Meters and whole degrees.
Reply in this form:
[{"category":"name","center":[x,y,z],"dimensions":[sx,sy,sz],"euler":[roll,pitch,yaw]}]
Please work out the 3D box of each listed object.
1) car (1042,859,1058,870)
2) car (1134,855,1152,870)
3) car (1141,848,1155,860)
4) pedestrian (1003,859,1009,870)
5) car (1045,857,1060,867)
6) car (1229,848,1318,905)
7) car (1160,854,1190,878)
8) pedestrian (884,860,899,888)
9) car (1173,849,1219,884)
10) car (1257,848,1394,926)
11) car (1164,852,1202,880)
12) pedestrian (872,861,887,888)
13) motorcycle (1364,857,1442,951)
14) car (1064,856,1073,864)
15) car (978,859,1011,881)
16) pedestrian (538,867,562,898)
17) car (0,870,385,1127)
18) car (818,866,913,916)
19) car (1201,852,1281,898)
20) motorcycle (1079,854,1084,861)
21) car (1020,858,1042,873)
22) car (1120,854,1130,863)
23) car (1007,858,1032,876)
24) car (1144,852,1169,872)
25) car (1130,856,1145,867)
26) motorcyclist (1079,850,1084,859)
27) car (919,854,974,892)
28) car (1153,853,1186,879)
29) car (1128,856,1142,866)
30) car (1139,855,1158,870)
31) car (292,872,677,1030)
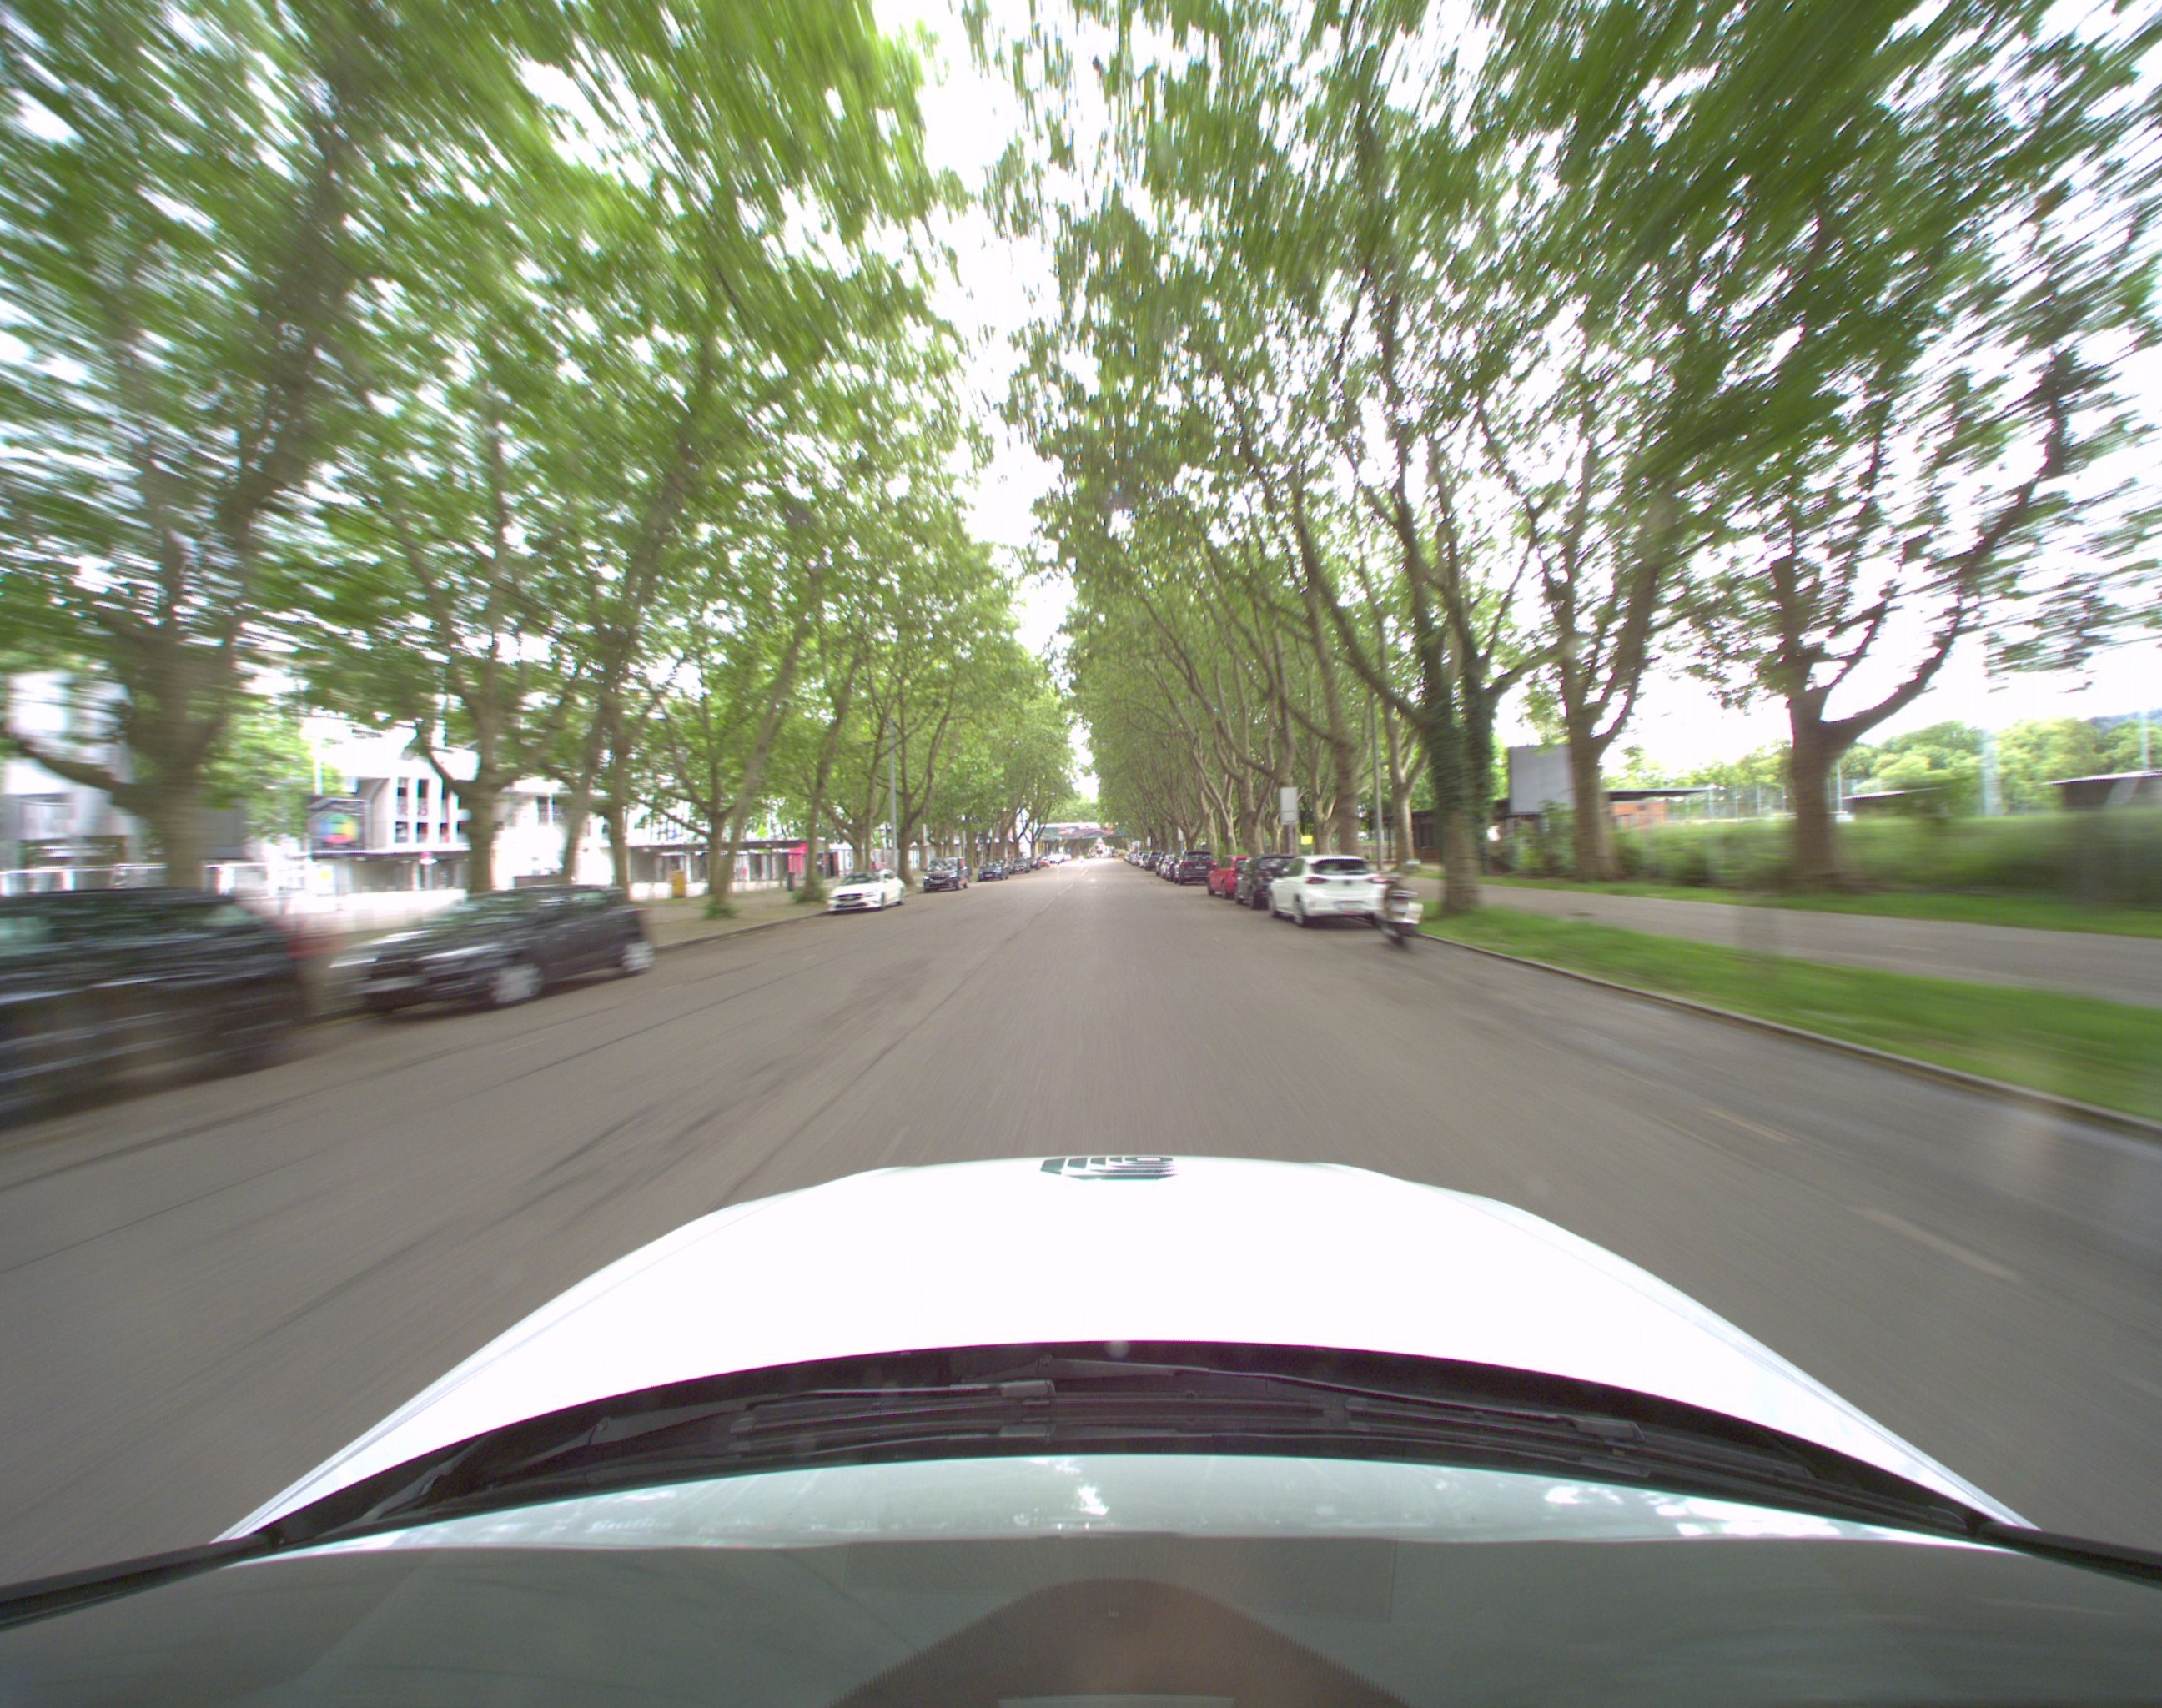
[{"category":"car","center":[-4.082,1.372,107.881],"dimensions":[1.801,1.354,4.002],"euler":[-2,0,2]},{"category":"car","center":[7.241,0.969,95.408],"dimensions":[1.896,1.739,4.508],"euler":[-2,0,2]},{"category":"car","center":[9.636,-0.028,117.416],"dimensions":[1.796,1.555,4.001],"euler":[-2,0,1]},{"category":"pedestrian","center":[-10.386,1.448,112.476],"dimensions":[0.588,1.620,0.794],"euler":[-2,-1,11]},{"category":"car","center":[-4.665,1.272,132.216],"dimensions":[2.065,1.563,4.758],"euler":[-2,0,2]},{"category":"car","center":[5.348,0.591,23.125],"dimensions":[1.723,1.470,4.083],"euler":[1,0,3]},{"category":"car","center":[5.847,0.750,50.916],"dimensions":[1.610,1.441,3.712],"euler":[0,0,3]},{"category":"pedestrian","center":[-12.291,1.315,52.751],"dimensions":[0.572,1.770,0.771],"euler":[-2,-1,16]},{"category":"car","center":[5.517,0.575,39.584],"dimensions":[1.749,1.620,4.441],"euler":[0,0,2]},{"category":"car","center":[5.137,0.640,17.694],"dimensions":[1.729,1.438,4.122],"euler":[-2,0,0]},{"category":"car","center":[5.574,0.640,44.902],"dimensions":[1.662,1.509,4.355],"euler":[0,0,2]},{"category":"pedestrian","center":[-13.041,1.335,52.628],"dimensions":[0.570,1.742,0.771],"euler":[-2,-1,16]},{"category":"motorcycle","center":[4.924,0.718,12.584],"dimensions":[0.708,1.331,1.998],"euler":[-1,0,10]},{"category":"car","center":[-2.901,1.363,186.171],"dimensions":[1.989,1.601,3.995],"euler":[-1,0,-4]},{"category":"car","center":[-6.359,1.174,60.258],"dimensions":[1.718,1.486,4.576],"euler":[-2,0,2]},{"category":"pedestrian","center":[-29.259,1.563,44.904],"dimensions":[0.721,1.691,0.809],"euler":[-2,-1,5]},{"category":"car","center":[-8.133,1.067,5.738],"dimensions":[1.930,1.643,4.932],"euler":[-5,0,3]},{"category":"car","center":[-7.564,1.254,29.094],"dimensions":[1.897,1.402,4.753],"euler":[-5,0,2]},{"category":"car","center":[5.381,0.657,27.971],"dimensions":[1.712,1.438,4.625],"euler":[0,0,-2]},{"category":"motorcycle","center":[0.065,0.584,142.148],"dimensions":[0.871,1.079,3.050],"euler":[-2,0,-2]},{"category":"car","center":[-5.465,1.256,89.877],"dimensions":[1.819,1.465,4.632],"euler":[-3,0,4]},{"category":"car","center":[8.894,0.863,164.928],"dimensions":[1.840,1.783,5.213],"euler":[-1,-1,2]},{"category":"car","center":[-5.828,1.221,77.943],"dimensions":[1.871,1.527,4.153],"euler":[-3,0,2]},{"category":"car","center":[6.384,0.669,69.004],"dimensions":[1.702,1.698,4.630],"euler":[0,0,0]},{"category":"car","center":[7.771,0.993,112.489],"dimensions":[1.850,1.481,4.178],"euler":[-2,0,1]},{"category":"motorcyclist","center":[0.062,0.146,142.072],"dimensions":[0.868,1.480,1.264],"euler":[-2,0,-2]},{"category":"car","center":[-6.992,0.950,42.727],"dimensions":[1.942,1.750,4.639],"euler":[-4,0,1]},{"category":"car","center":[6.043,0.782,55.823],"dimensions":[1.771,1.673,4.638],"euler":[-2,0,1]},{"category":"car","center":[7.929,1.049,119.162],"dimensions":[1.869,1.427,4.482],"euler":[-2,0,2]},{"category":"car","center":[6.762,0.827,81.854],"dimensions":[1.701,1.427,3.890],"euler":[0,0,2]},{"category":"car","center":[-7.755,1.131,11.289],"dimensions":[1.826,1.494,4.444],"euler":[-5,0,2]}]
